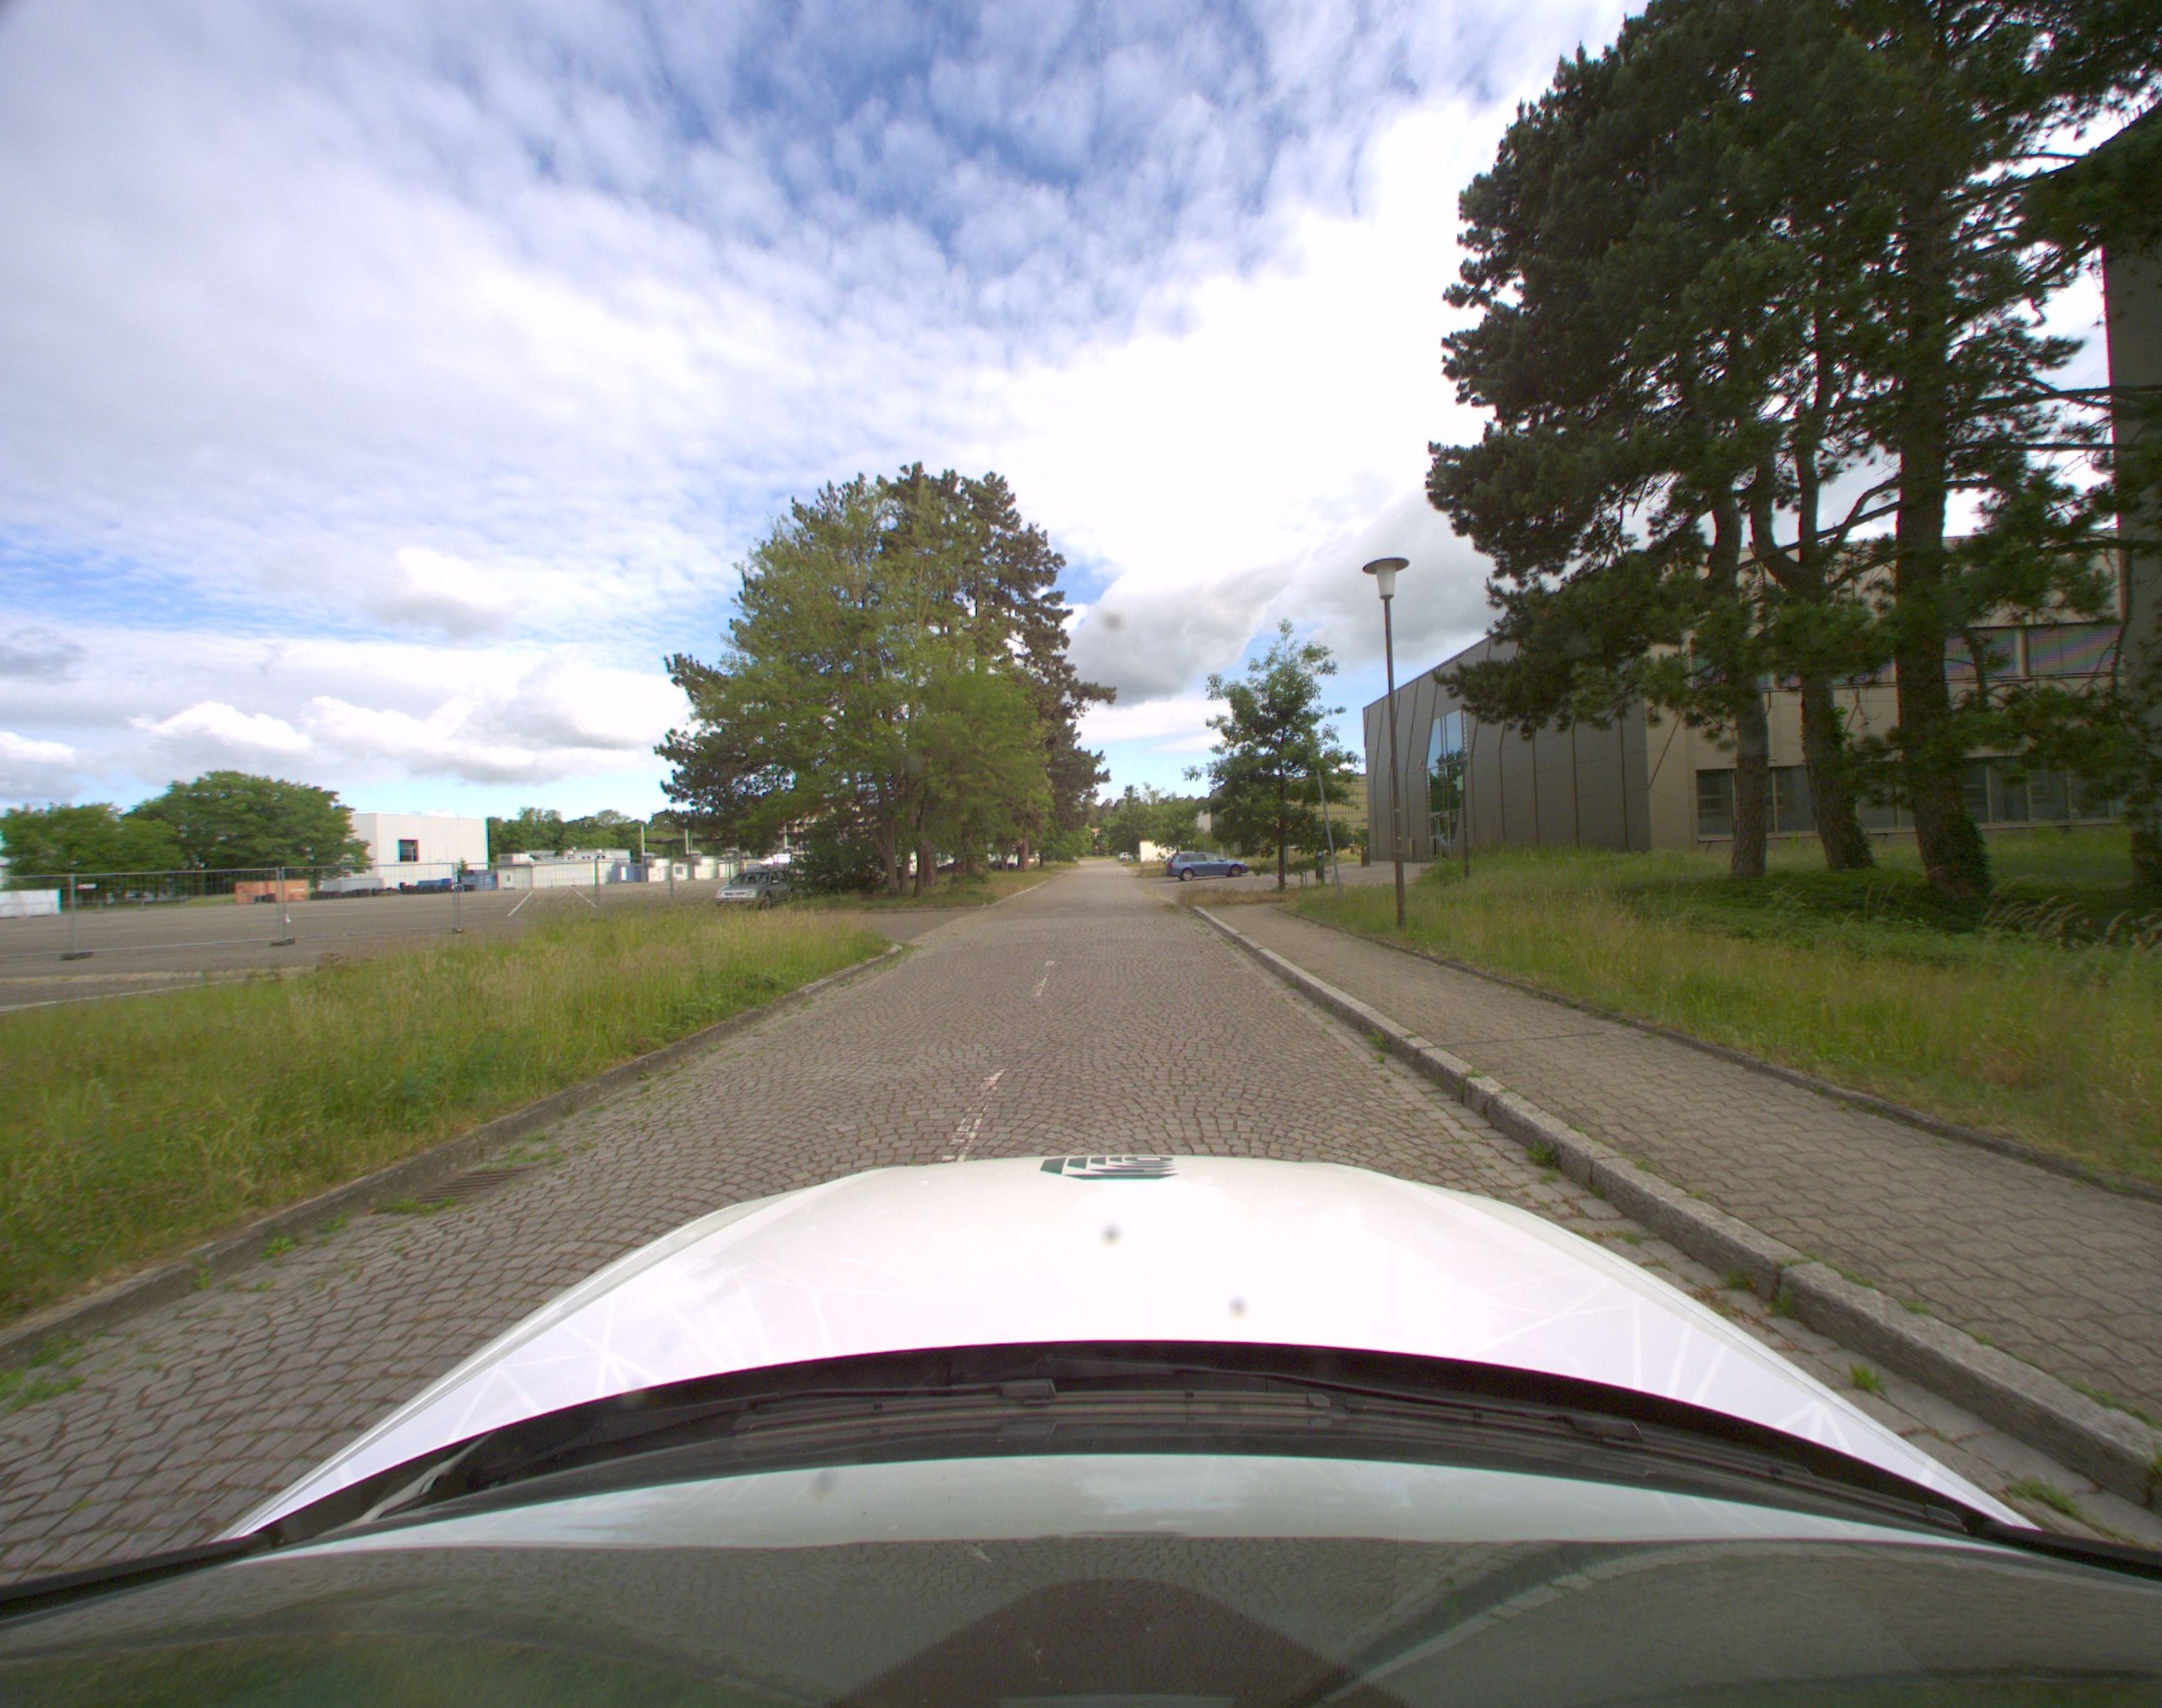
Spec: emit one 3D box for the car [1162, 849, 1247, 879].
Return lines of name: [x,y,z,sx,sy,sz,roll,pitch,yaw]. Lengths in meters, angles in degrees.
car: [6.767,0.557,44.799,4.331,1.422,1.999,-3,0,-1]

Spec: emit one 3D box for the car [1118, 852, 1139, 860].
car: [9.382,0.313,161.887,3.980,1.398,1.997,-3,0,-5]

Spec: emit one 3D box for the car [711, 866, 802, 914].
car: [-11.857,1.268,30.036,1.607,1.487,4.002,-2,0,2]
